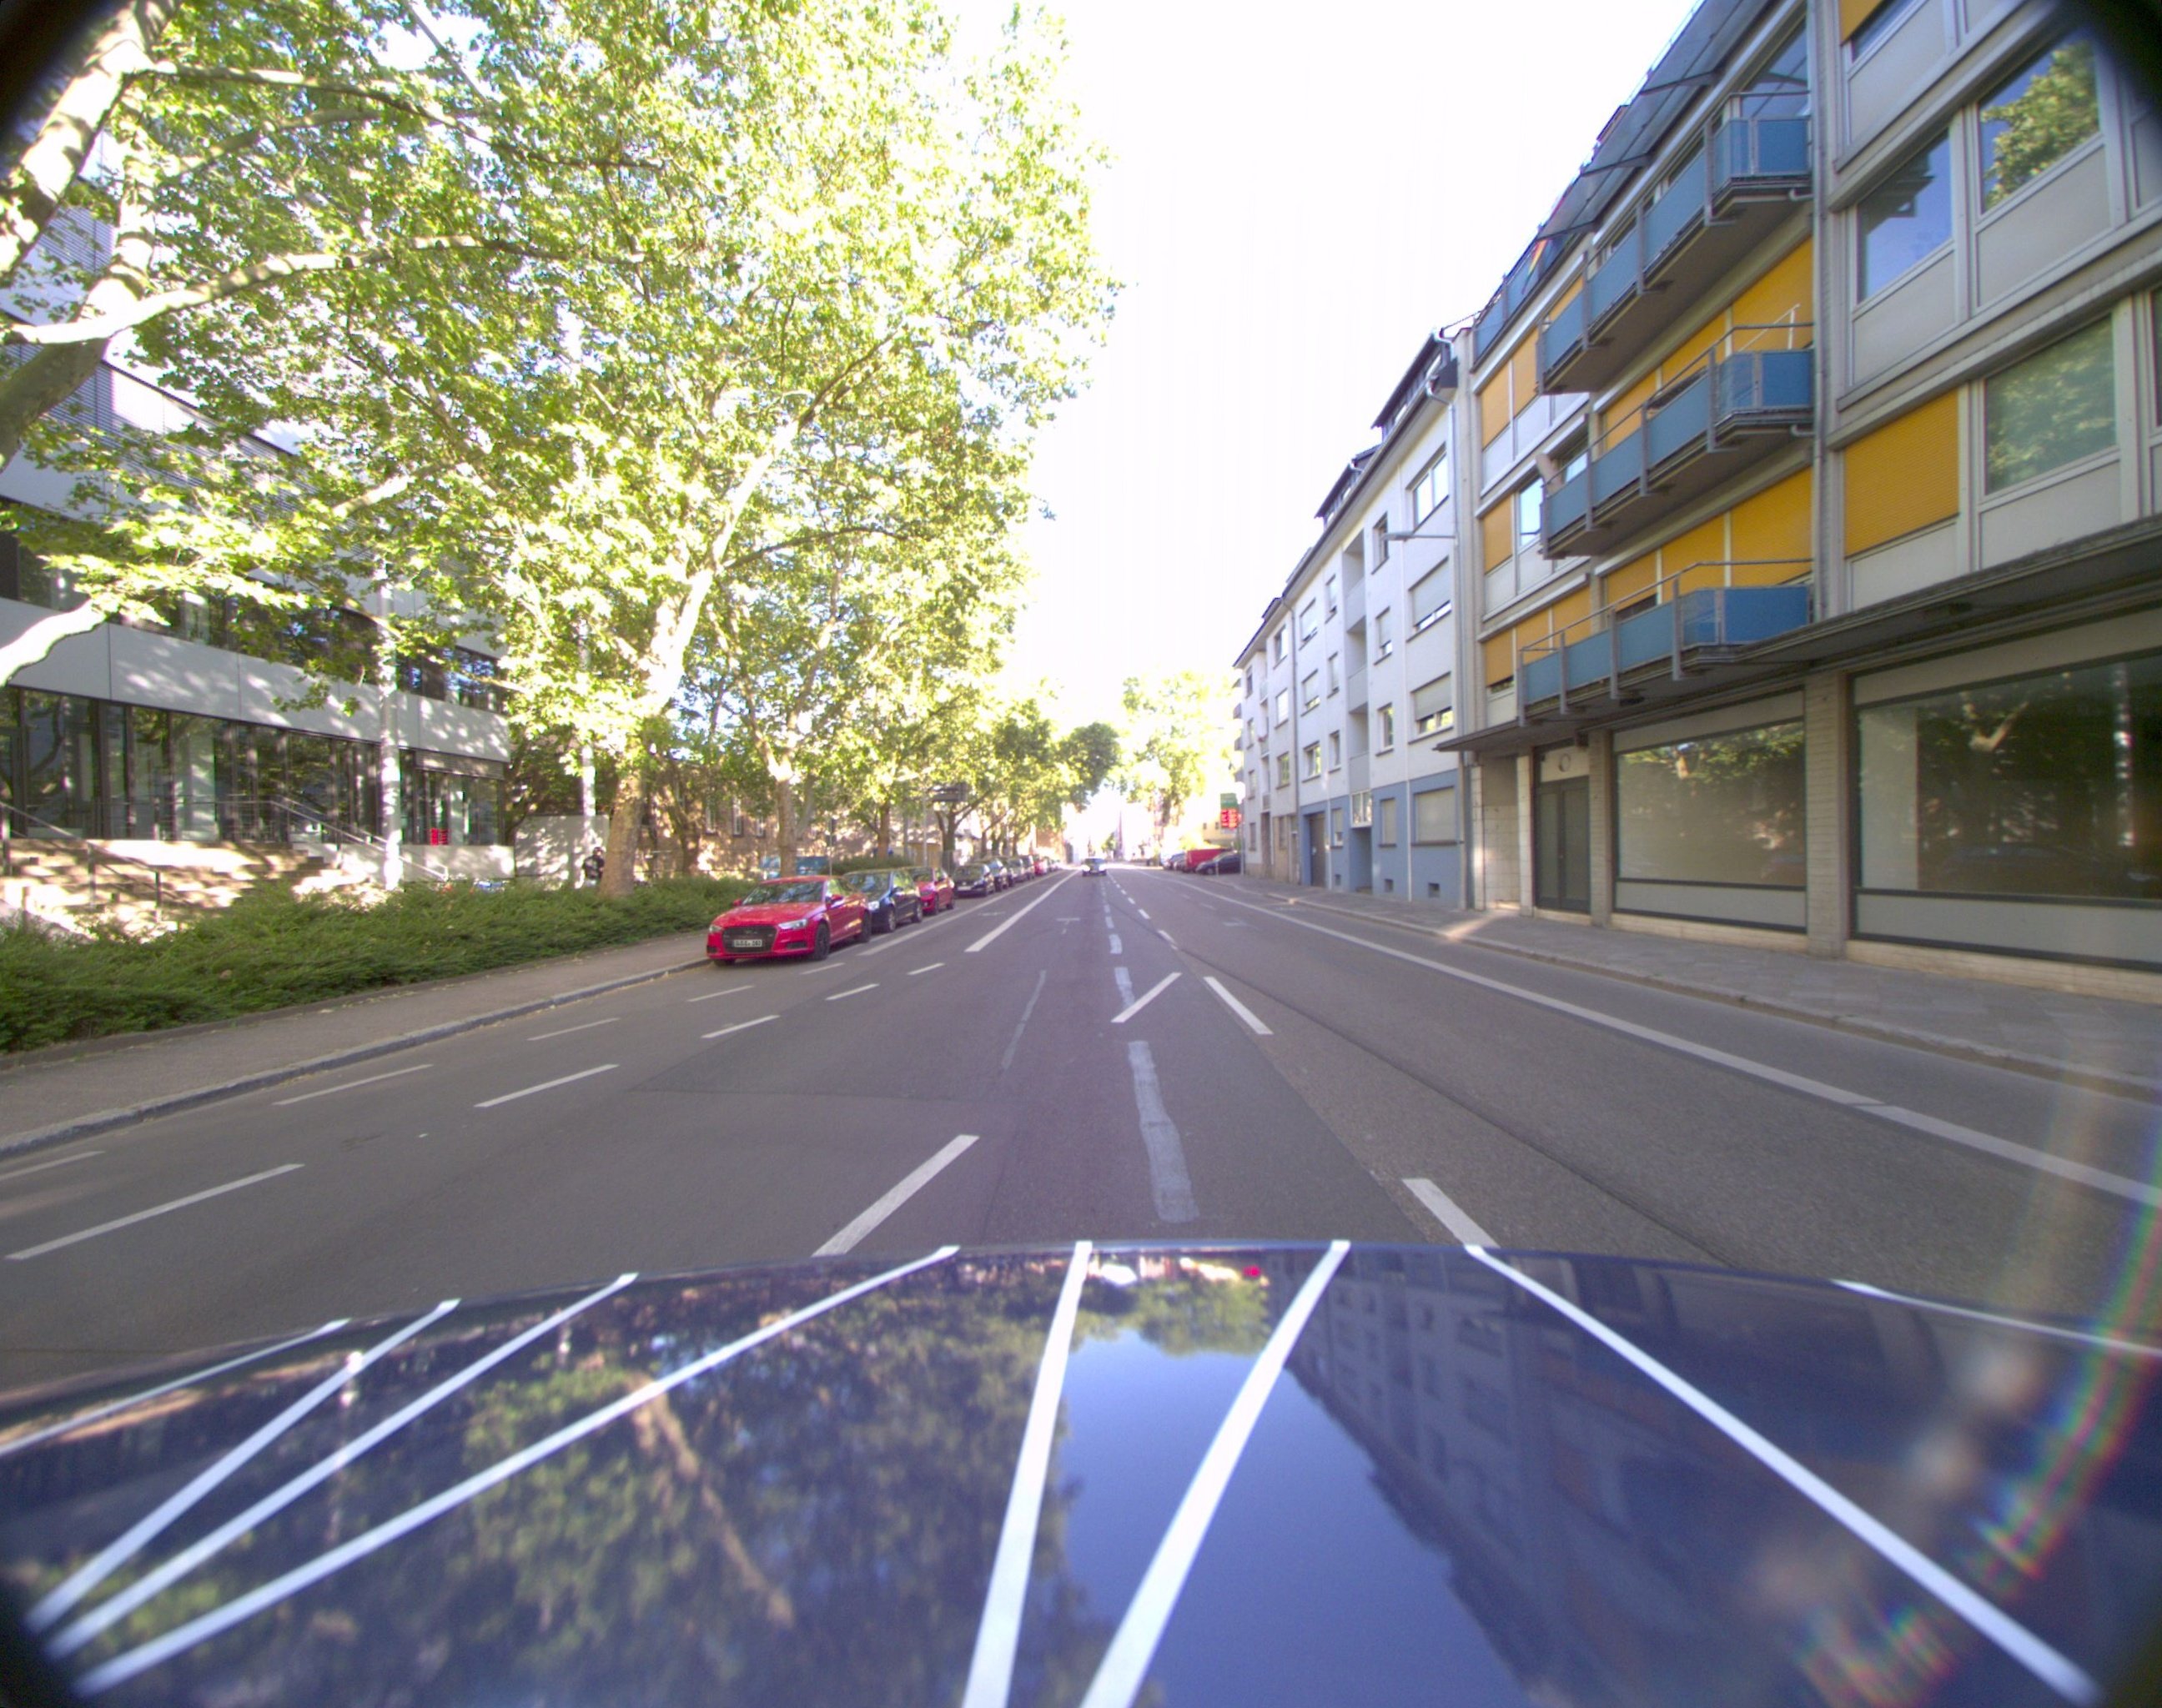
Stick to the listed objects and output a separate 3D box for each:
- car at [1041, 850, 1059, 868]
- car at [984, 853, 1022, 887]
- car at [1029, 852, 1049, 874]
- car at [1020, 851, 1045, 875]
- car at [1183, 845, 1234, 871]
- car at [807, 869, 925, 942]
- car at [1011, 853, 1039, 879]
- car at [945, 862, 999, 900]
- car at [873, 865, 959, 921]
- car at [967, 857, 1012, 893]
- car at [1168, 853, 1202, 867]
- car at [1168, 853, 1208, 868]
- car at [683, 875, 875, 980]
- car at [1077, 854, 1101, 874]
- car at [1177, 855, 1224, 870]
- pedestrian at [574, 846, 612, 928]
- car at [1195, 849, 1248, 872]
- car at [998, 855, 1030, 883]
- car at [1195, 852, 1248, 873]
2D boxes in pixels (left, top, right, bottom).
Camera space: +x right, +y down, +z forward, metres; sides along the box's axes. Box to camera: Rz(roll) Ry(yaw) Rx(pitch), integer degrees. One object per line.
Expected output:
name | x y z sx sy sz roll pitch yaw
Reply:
car | -3.747 0.587 92.660 1.998 2.002 4.000 -2 0 1
car | -4.465 0.856 44.230 1.634 1.781 4.576 -2 1 0
car | -3.914 0.811 70.993 1.599 1.835 3.769 -2 1 0
car | -4.181 0.727 66.081 1.915 1.940 3.769 -2 1 0
car | 10.050 0.323 59.933 3.688 1.897 1.490 -2 -1 -1
car | -5.059 1.164 18.400 1.669 1.410 3.697 -2 1 1
car | -4.048 0.818 55.229 1.634 1.725 3.769 -2 1 0
car | -4.703 1.113 33.226 1.692 1.414 3.923 -2 1 0
car | -5.022 1.134 23.674 1.692 1.441 3.923 -2 1 1
car | -4.528 0.994 38.097 1.634 1.569 4.231 -2 1 0
car | 10.312 0.585 75.457 3.271 1.238 1.345 -2 1 2
car | 10.256 0.630 73.020 3.687 1.238 1.345 -2 1 2
car | -5.170 1.181 13.647 1.794 1.384 3.999 -2 1 0
car | 0.605 0.727 59.971 1.752 1.423 4.265 -2 0 0
car | 9.801 0.696 62.578 3.687 1.122 1.345 -2 1 2
pedestrian | -12.177 0.801 18.978 0.552 2.002 0.562 -2 1 -11
car | 10.524 0.487 57.088 3.687 1.503 1.490 -2 1 2
car | -4.364 0.943 50.101 1.634 1.604 4.576 -2 1 0
car | 10.081 0.592 54.719 3.508 1.380 1.490 -2 1 2
